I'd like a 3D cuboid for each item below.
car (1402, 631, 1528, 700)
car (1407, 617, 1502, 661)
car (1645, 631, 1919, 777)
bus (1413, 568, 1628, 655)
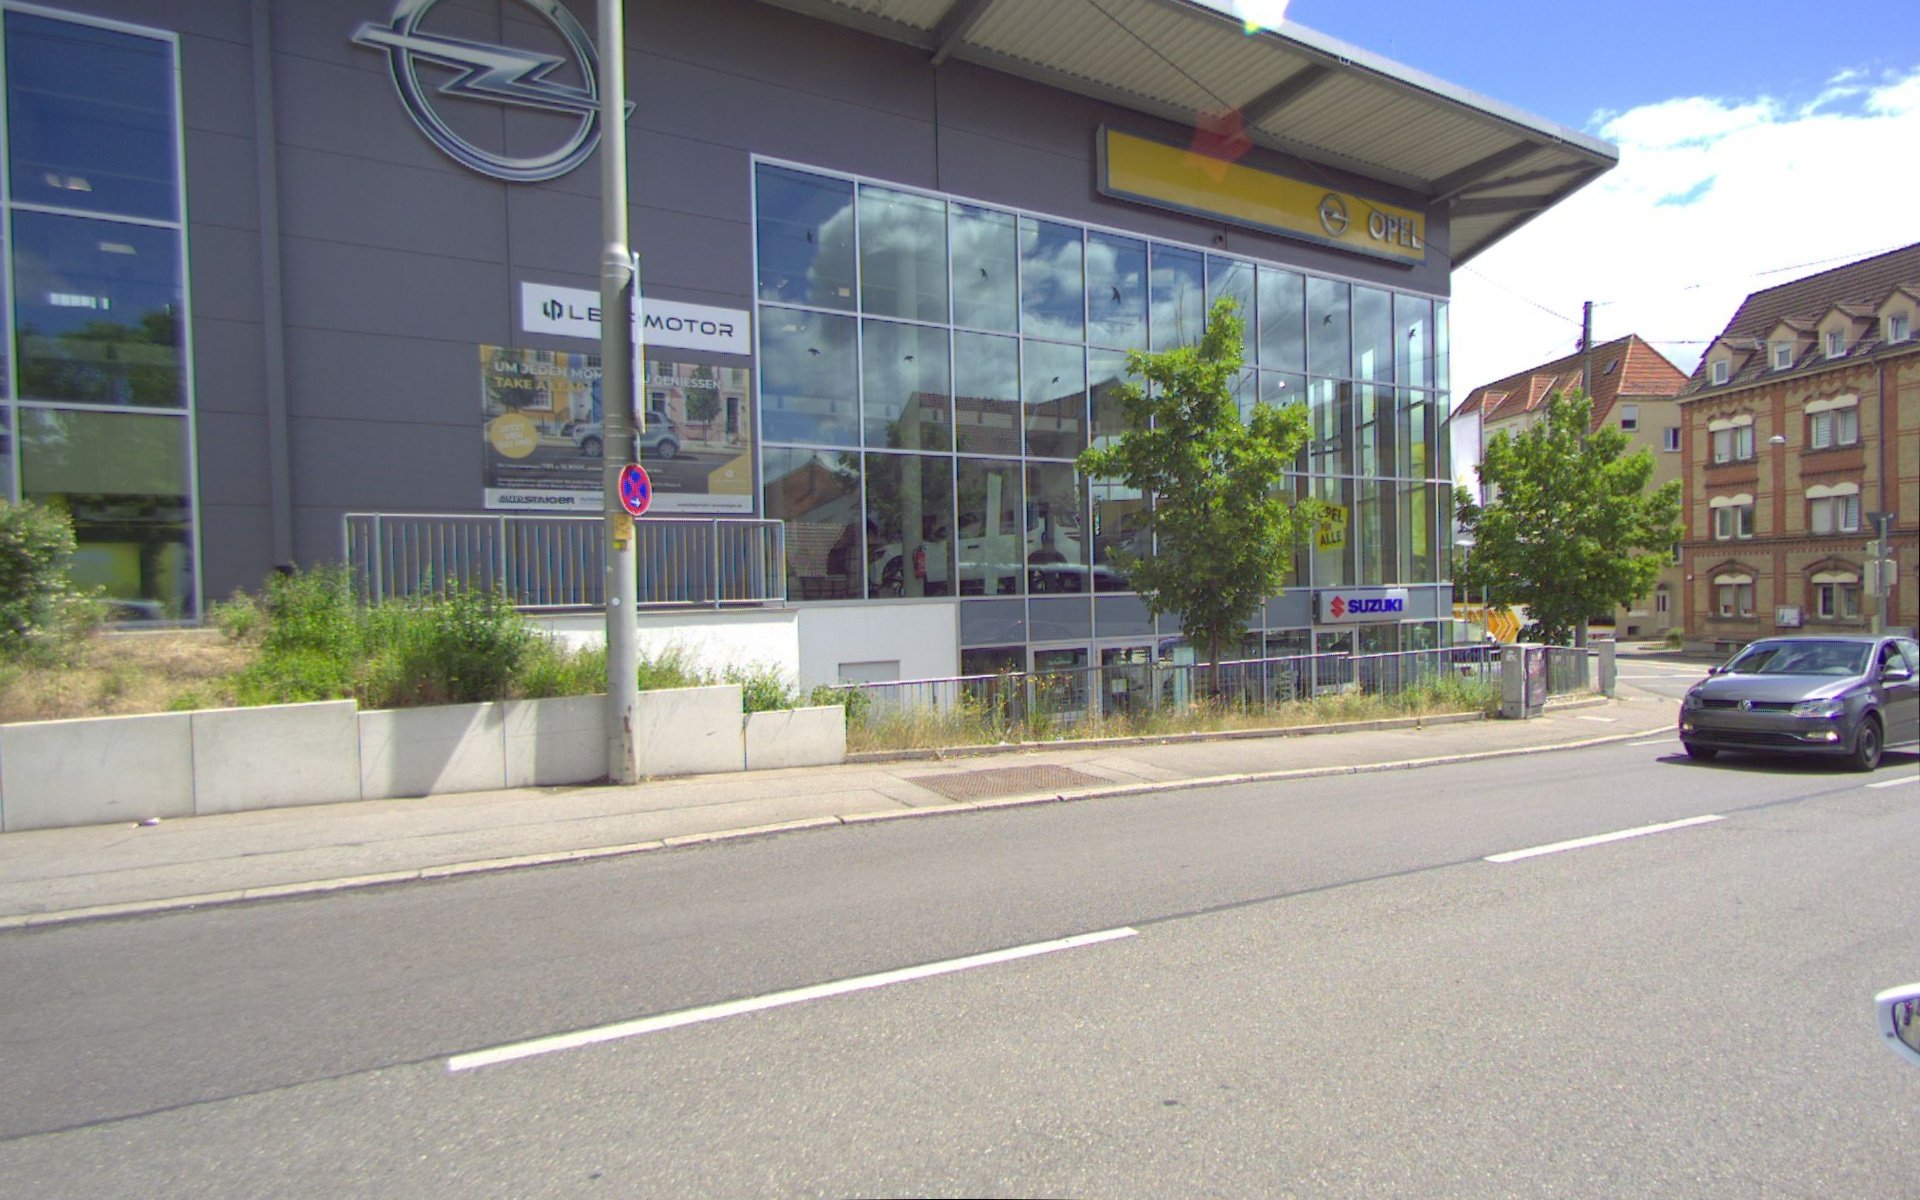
[{"bbox_3d":[13.105,1.660,26.269,1.648,1.582,3.365,-1,0,1],"label":"car"},{"bbox_3d":[22.538,1.812,45.997,1.802,1.569,4.306,13,-3,-3],"label":"car"},{"bbox_3d":[9.837,1.091,11.605,3.690,1.431,1.751,1,-3,-30],"label":"car"},{"bbox_3d":[26.736,0.424,49.094,2.719,3.670,12.253,1,1,-5],"label":"bus"}]
